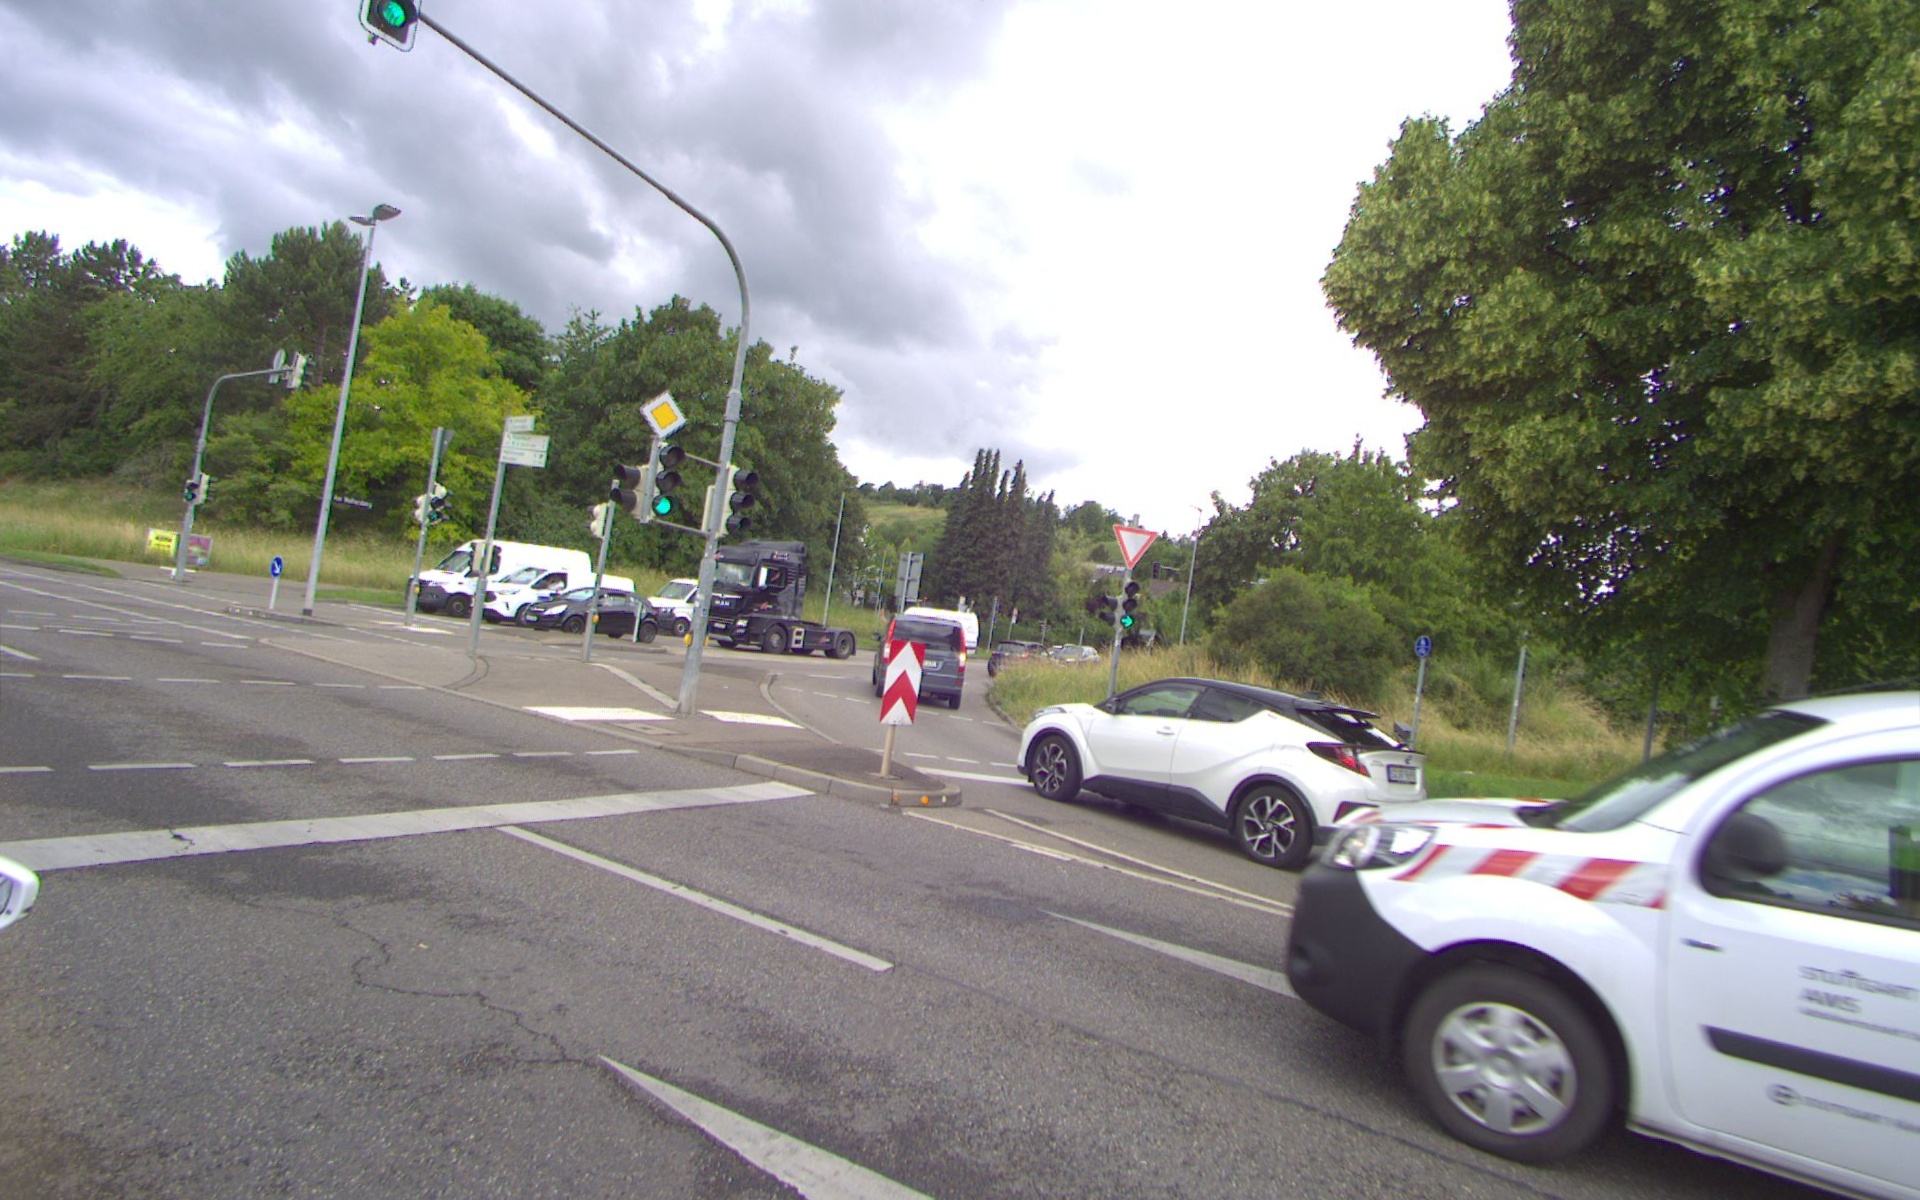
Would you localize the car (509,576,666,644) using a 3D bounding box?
[{"bbox_3d":[-10.606,0.335,28.924,1.703,1.453,3.927,7,-1,31],"label":"car"}]

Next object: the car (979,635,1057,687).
[{"bbox_3d":[2.252,2.328,38.040,1.596,1.445,3.621,8,-5,25],"label":"car"}]

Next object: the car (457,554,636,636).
[{"bbox_3d":[-12.933,-0.095,31.811,1.999,1.918,4.862,7,-1,31],"label":"car"}]

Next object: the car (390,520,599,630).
[{"bbox_3d":[-15.336,-0.736,33.593,2.100,2.814,5.903,7,-1,32],"label":"car"}]

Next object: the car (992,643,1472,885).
[{"bbox_3d":[2.490,1.513,10.117,1.777,1.550,4.258,13,-5,-40],"label":"car"}]

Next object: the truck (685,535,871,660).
[{"bbox_3d":[-6.212,0.024,35.335,2.682,3.580,6.061,7,-1,32],"label":"truck"}]

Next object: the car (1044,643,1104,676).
[{"bbox_3d":[6.384,3.356,56.158,1.703,1.453,3.927,7,-1,31],"label":"car"}]

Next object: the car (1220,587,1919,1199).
[{"bbox_3d":[3.600,1.156,3.372,4.760,1.823,1.997,6,-2,33],"label":"car"}]

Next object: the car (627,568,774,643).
[{"bbox_3d":[-10.425,0.290,40.900,2.100,2.316,5.709,7,-1,32],"label":"car"}]

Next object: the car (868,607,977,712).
[{"bbox_3d":[-0.994,1.274,23.370,1.890,1.855,4.716,10,-1,-7],"label":"car"}]

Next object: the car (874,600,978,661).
[{"bbox_3d":[-1.750,1.749,54.825,2.160,2.640,6.509,7,-1,32],"label":"car"}]
